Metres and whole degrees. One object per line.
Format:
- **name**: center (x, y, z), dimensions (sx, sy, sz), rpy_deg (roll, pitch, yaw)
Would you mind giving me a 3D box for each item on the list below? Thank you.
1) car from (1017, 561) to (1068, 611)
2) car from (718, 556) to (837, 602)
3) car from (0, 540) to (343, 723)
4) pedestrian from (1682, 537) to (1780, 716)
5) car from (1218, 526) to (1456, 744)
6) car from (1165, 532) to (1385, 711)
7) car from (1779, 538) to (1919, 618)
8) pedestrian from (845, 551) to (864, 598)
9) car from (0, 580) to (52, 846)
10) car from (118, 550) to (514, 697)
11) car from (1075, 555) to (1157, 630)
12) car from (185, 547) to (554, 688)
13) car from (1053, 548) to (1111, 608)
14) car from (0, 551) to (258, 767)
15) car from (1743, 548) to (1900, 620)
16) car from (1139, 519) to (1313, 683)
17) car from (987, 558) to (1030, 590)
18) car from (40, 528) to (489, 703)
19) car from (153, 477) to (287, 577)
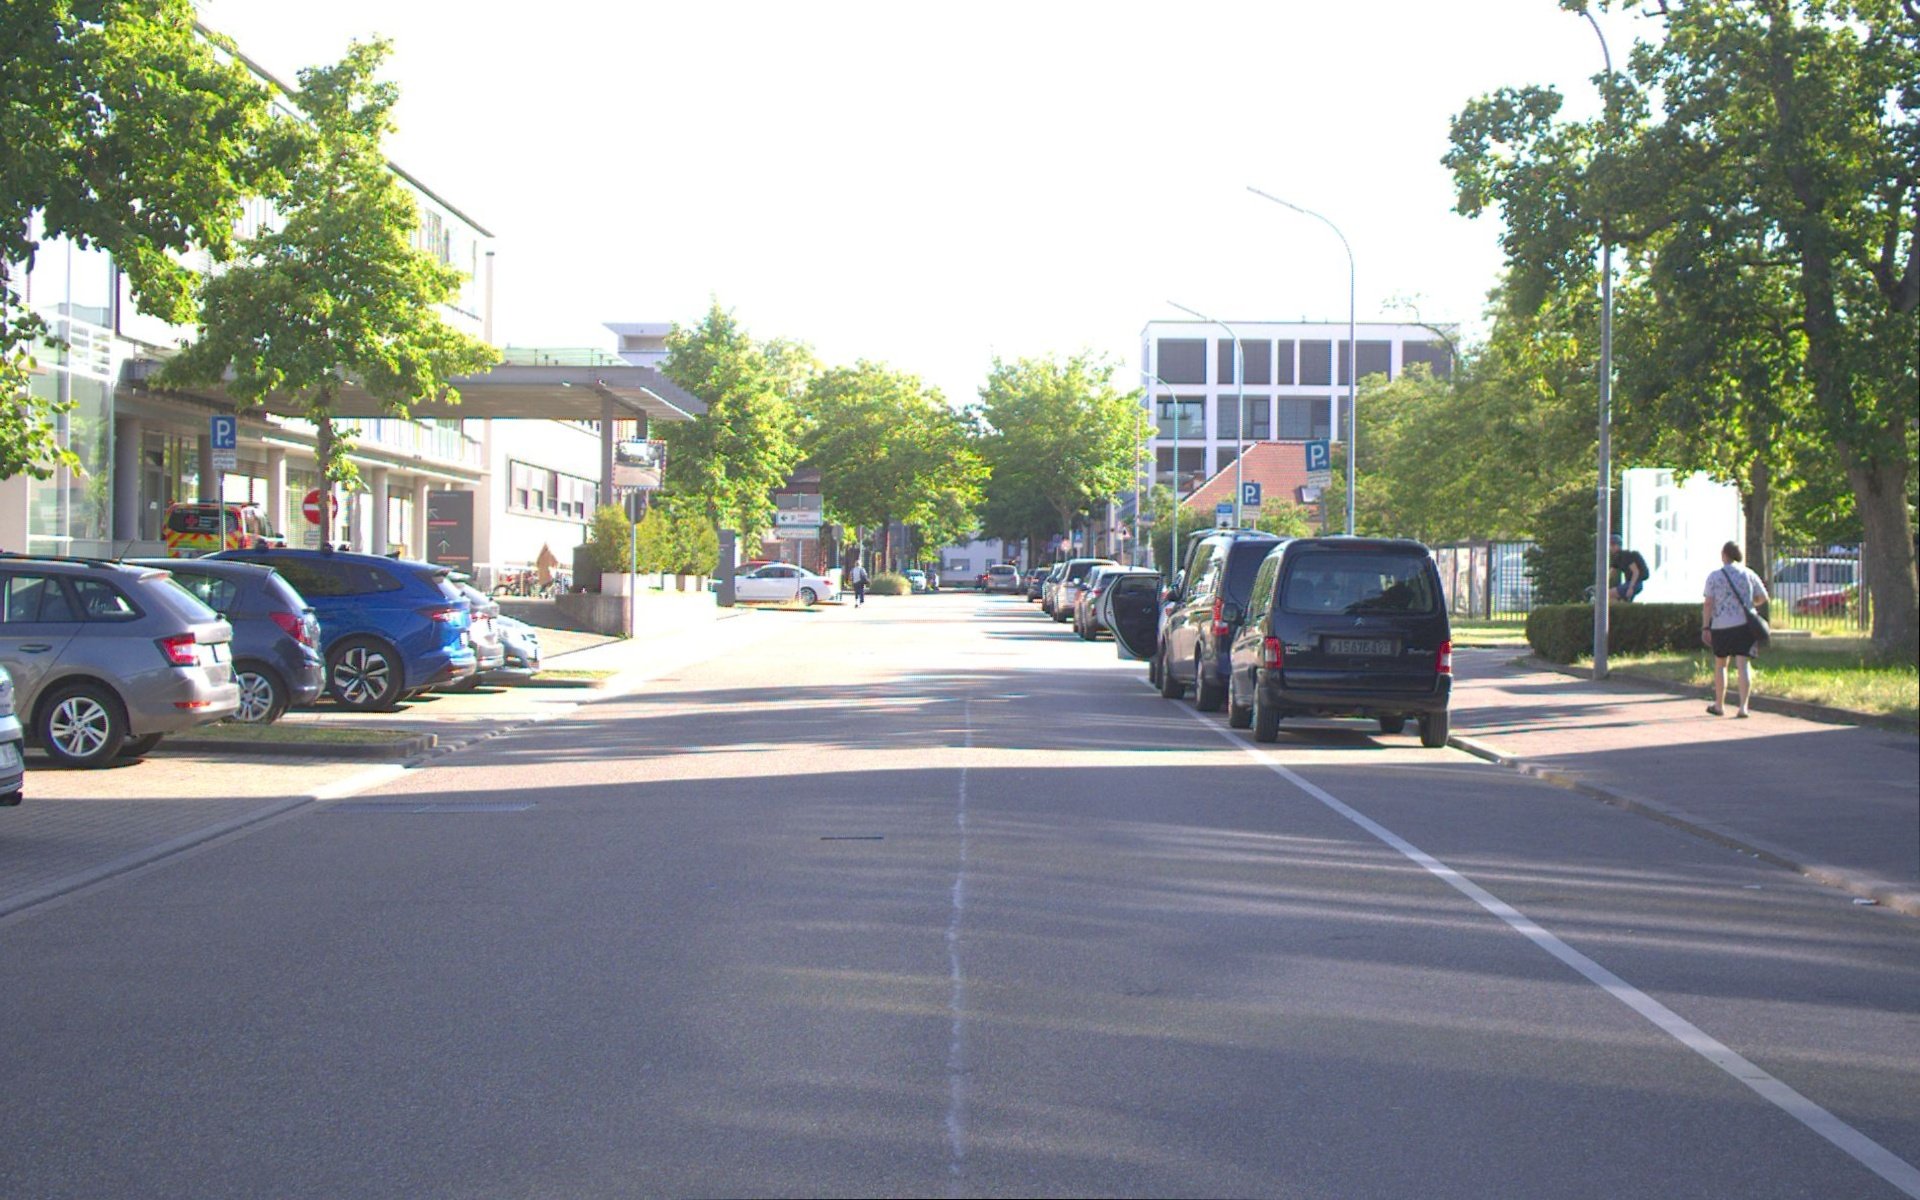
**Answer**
- **car**: center (3.430, -0.572, 143.769), dimensions (1.993, 2.007, 4.000), rpy_deg (1, -1, 0)
- **car**: center (-6.279, -0.709, 118.699), dimensions (3.987, 1.514, 2.000), rpy_deg (1, -1, 1)
- **car**: center (-7.717, 0.239, 30.423), dimensions (4.213, 1.481, 1.872), rpy_deg (2, 1, -3)
- **pedestrian**: center (7.307, 0.247, 32.613), dimensions (0.698, 1.655, 0.752), rpy_deg (-2, 1, 0)
- **car**: center (3.328, 0.269, 30.969), dimensions (1.733, 1.824, 3.905), rpy_deg (1, 1, 1)
- **car**: center (3.342, 0.188, 37.210), dimensions (1.993, 1.816, 4.199), rpy_deg (0, 1, 0)
- **car**: center (23.536, -0.555, 89.197), dimensions (3.986, 2.007, 2.000), rpy_deg (1, -1, -4)
- **pedestrian**: center (-3.587, -0.869, 116.999), dimensions (0.618, 1.618, 0.716), rpy_deg (0, 1, 0)
- **car**: center (-6.928, 0.524, 17.829), dimensions (3.986, 1.354, 1.743), rpy_deg (2, 1, -3)
- **car**: center (-6.953, 0.233, 37.439), dimensions (3.986, 1.546, 2.000), rpy_deg (0, 1, -2)
- **car**: center (3.177, -0.178, 70.536), dimensions (1.497, 1.474, 3.650), rpy_deg (0, 1, 0)
- **car**: center (-6.806, 0.187, 39.946), dimensions (3.986, 1.546, 2.000), rpy_deg (1, 1, -2)
- **car**: center (3.255, -0.597, 91.967), dimensions (1.436, 1.555, 3.042), rpy_deg (1, 1, 0)
- **car**: center (-7.391, 0.365, 25.001), dimensions (4.213, 1.457, 1.872), rpy_deg (2, 1, -3)
- **car**: center (24.790, -0.457, 98.990), dimensions (3.986, 2.007, 2.000), rpy_deg (1, -1, -2)
- **car**: center (3.314, -0.016, 43.456), dimensions (1.874, 1.971, 4.000), rpy_deg (0, 1, 0)
- **car**: center (2.473, -1.321, 173.473), dimensions (1.744, 1.538, 3.999), rpy_deg (1, 1, 6)
- **car**: center (-7.016, 0.146, 35.004), dimensions (4.213, 1.597, 1.872), rpy_deg (2, 1, -3)
- **car**: center (-15.865, -1.538, 73.857), dimensions (1.993, 2.007, 4.000), rpy_deg (1, -1, 0)
